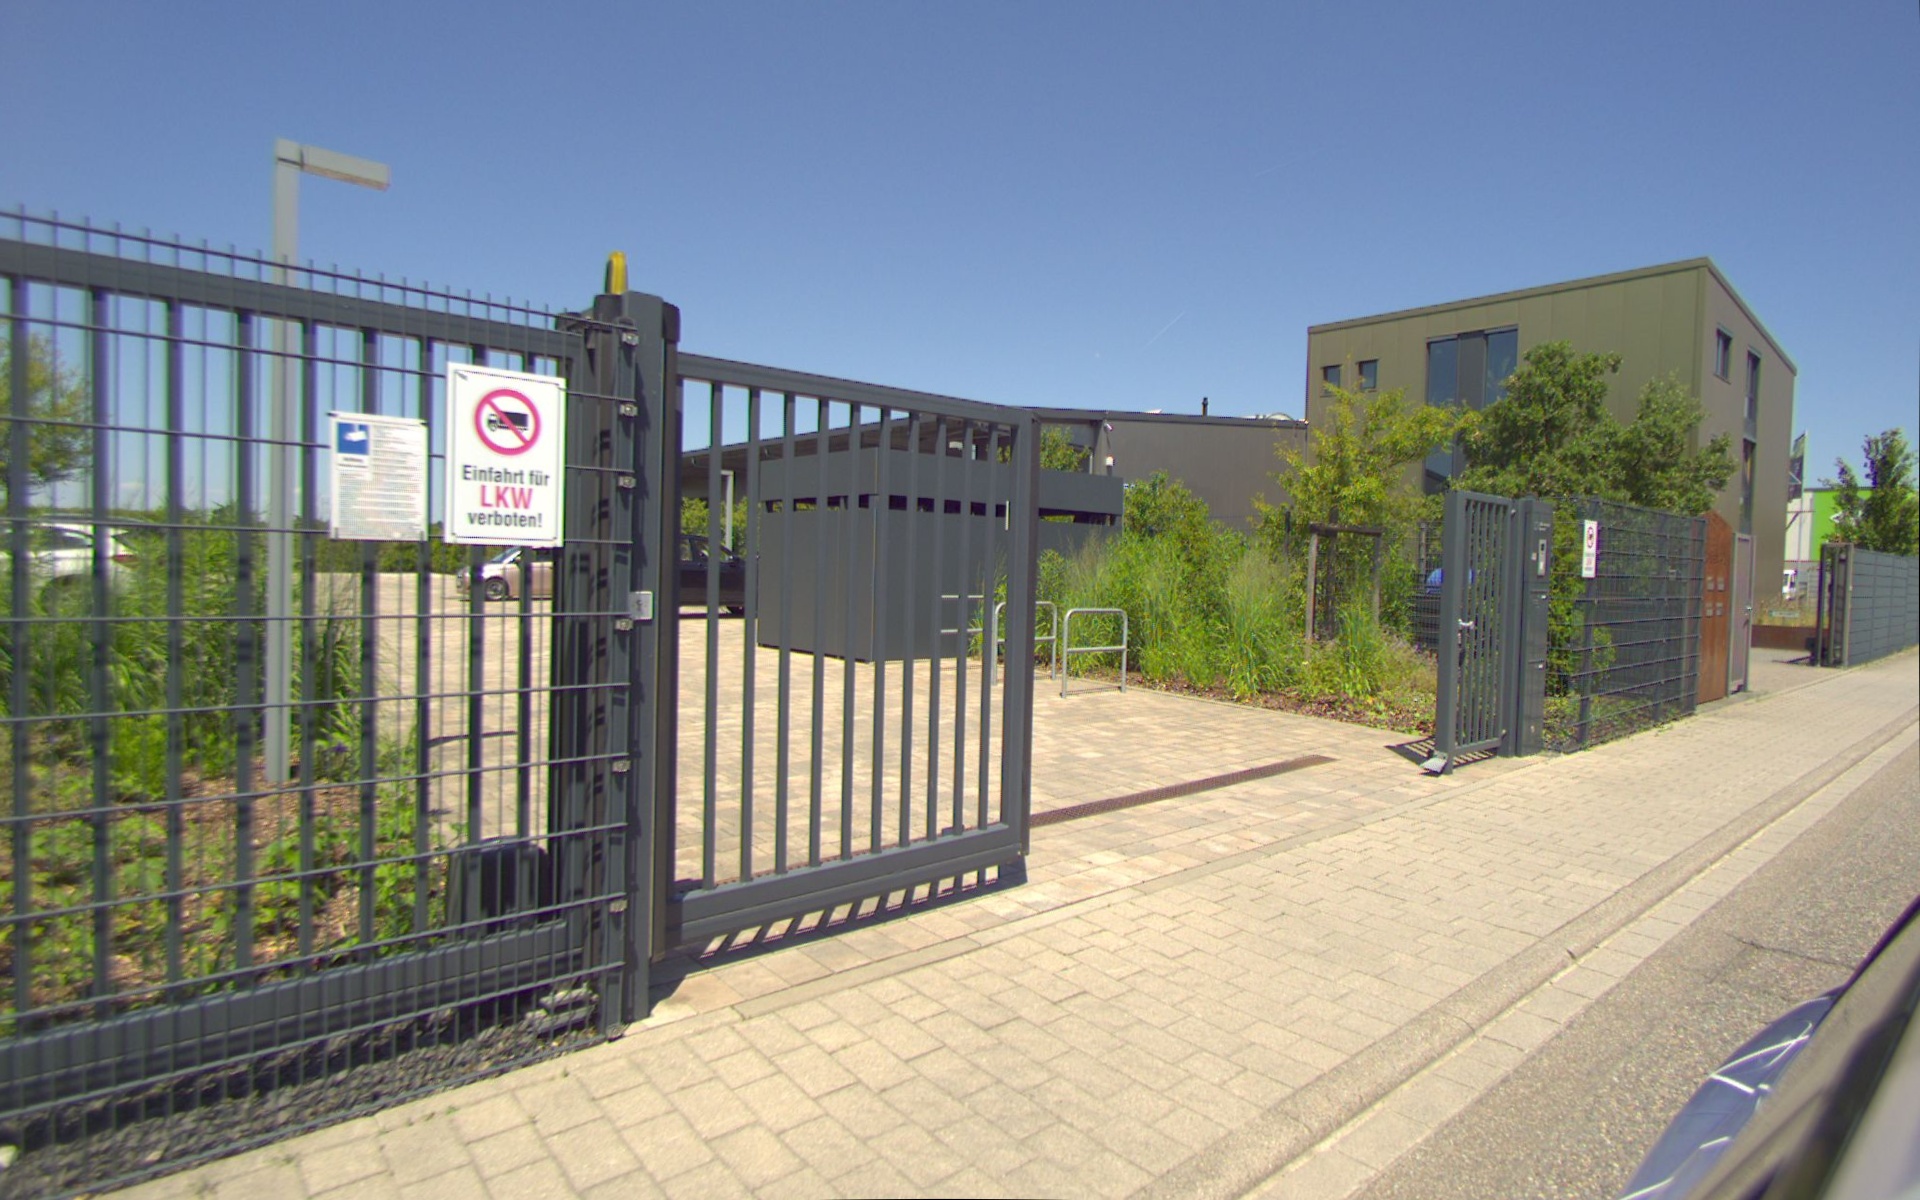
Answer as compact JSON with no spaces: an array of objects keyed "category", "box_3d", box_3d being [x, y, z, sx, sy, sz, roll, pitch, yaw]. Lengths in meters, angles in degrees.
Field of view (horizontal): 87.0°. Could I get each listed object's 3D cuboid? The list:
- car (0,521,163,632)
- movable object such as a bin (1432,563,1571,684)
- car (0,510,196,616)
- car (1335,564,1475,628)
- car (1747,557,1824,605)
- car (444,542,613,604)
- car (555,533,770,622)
[{"category":"car","box_3d":[-14.939,-0.391,15.289,4.441,1.608,1.997,1,1,-42]},{"category":"movable object such as a bin","box_3d":[7.108,0.270,13.311,0.932,1.477,1.337,0,3,-41]},{"category":"car","box_3d":[-17.743,-0.721,19.677,4.441,1.914,1.997,1,1,-42]},{"category":"car","box_3d":[11.146,-0.138,25.246,3.931,1.461,1.658,-1,3,-41]},{"category":"car","box_3d":[46.973,-1.071,57.524,6.903,2.524,2.134,0,4,-41]},{"category":"car","box_3d":[-11.842,-0.741,27.886,3.930,1.579,1.870,0,3,-41]},{"category":"car","box_3d":[-6.197,-0.482,21.302,3.930,1.694,1.870,0,3,-41]}]
